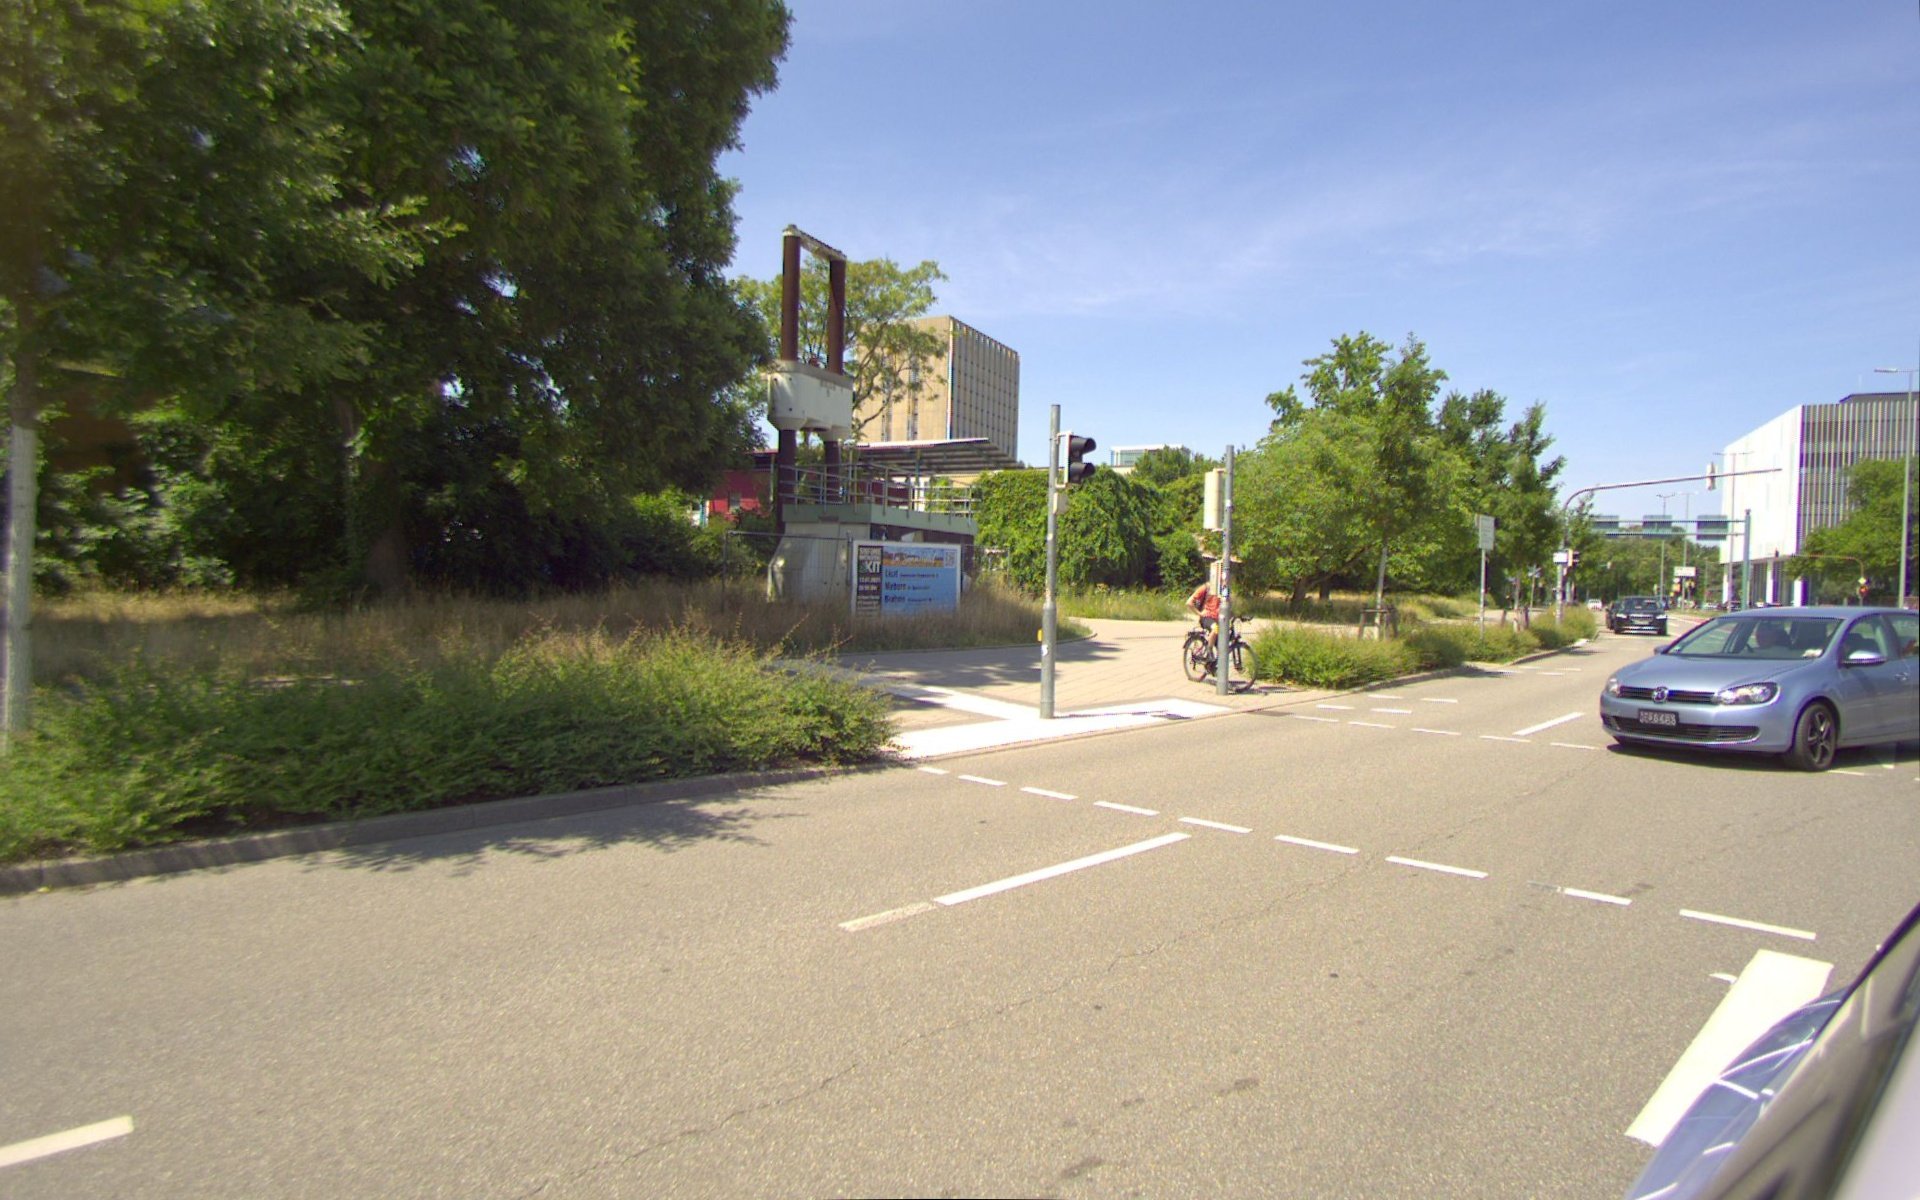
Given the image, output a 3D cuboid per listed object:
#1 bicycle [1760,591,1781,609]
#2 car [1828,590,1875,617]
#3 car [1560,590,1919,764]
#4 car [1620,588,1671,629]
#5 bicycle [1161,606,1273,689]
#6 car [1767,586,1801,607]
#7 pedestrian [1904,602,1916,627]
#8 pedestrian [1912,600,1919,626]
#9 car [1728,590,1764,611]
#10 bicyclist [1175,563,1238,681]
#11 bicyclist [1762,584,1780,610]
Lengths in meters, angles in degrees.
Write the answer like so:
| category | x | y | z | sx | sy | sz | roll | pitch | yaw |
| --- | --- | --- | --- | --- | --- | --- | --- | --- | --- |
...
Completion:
| category | x | y | z | sx | sy | sz | roll | pitch | yaw |
| --- | --- | --- | --- | --- | --- | --- | --- | --- | --- |
| bicycle | 60.968 | 0.029 | 76.174 | 0.515 | 1.253 | 2.177 | 2 | -1 | 20 |
| car | 71.579 | 0.298 | 81.318 | 1.983 | 2.039 | 4.169 | 2 | -1 | 29 |
| car | 8.193 | 0.682 | 10.022 | 3.910 | 1.432 | 1.837 | 2 | 1 | -22 |
| car | 29.698 | 0.410 | 43.894 | 1.697 | 1.606 | 4.499 | 2 | -1 | 34 |
| bicycle | 3.812 | 0.682 | 15.179 | 0.547 | 1.058 | 2.002 | 3 | 2 | -20 |
| car | 73.259 | -0.288 | 90.041 | 1.768 | 1.705 | 3.954 | 2 | -1 | 31 |
| pedestrian | 78.140 | 1.194 | 83.261 | 0.545 | 2.039 | 0.530 | 2 | -1 | 30 |
| pedestrian | 78.694 | 1.065 | 82.911 | 0.782 | 2.039 | 0.954 | 2 | -1 | 29 |
| car | 71.006 | 0.032 | 91.498 | 1.762 | 1.689 | 3.961 | 2 | -1 | 27 |
| bicyclist | 3.747 | 0.324 | 15.407 | 0.540 | 1.737 | 0.705 | 3 | 1 | -21 |
| bicyclist | 61.030 | -0.189 | 76.160 | 0.700 | 1.911 | 1.131 | 2 | -1 | 20 |
